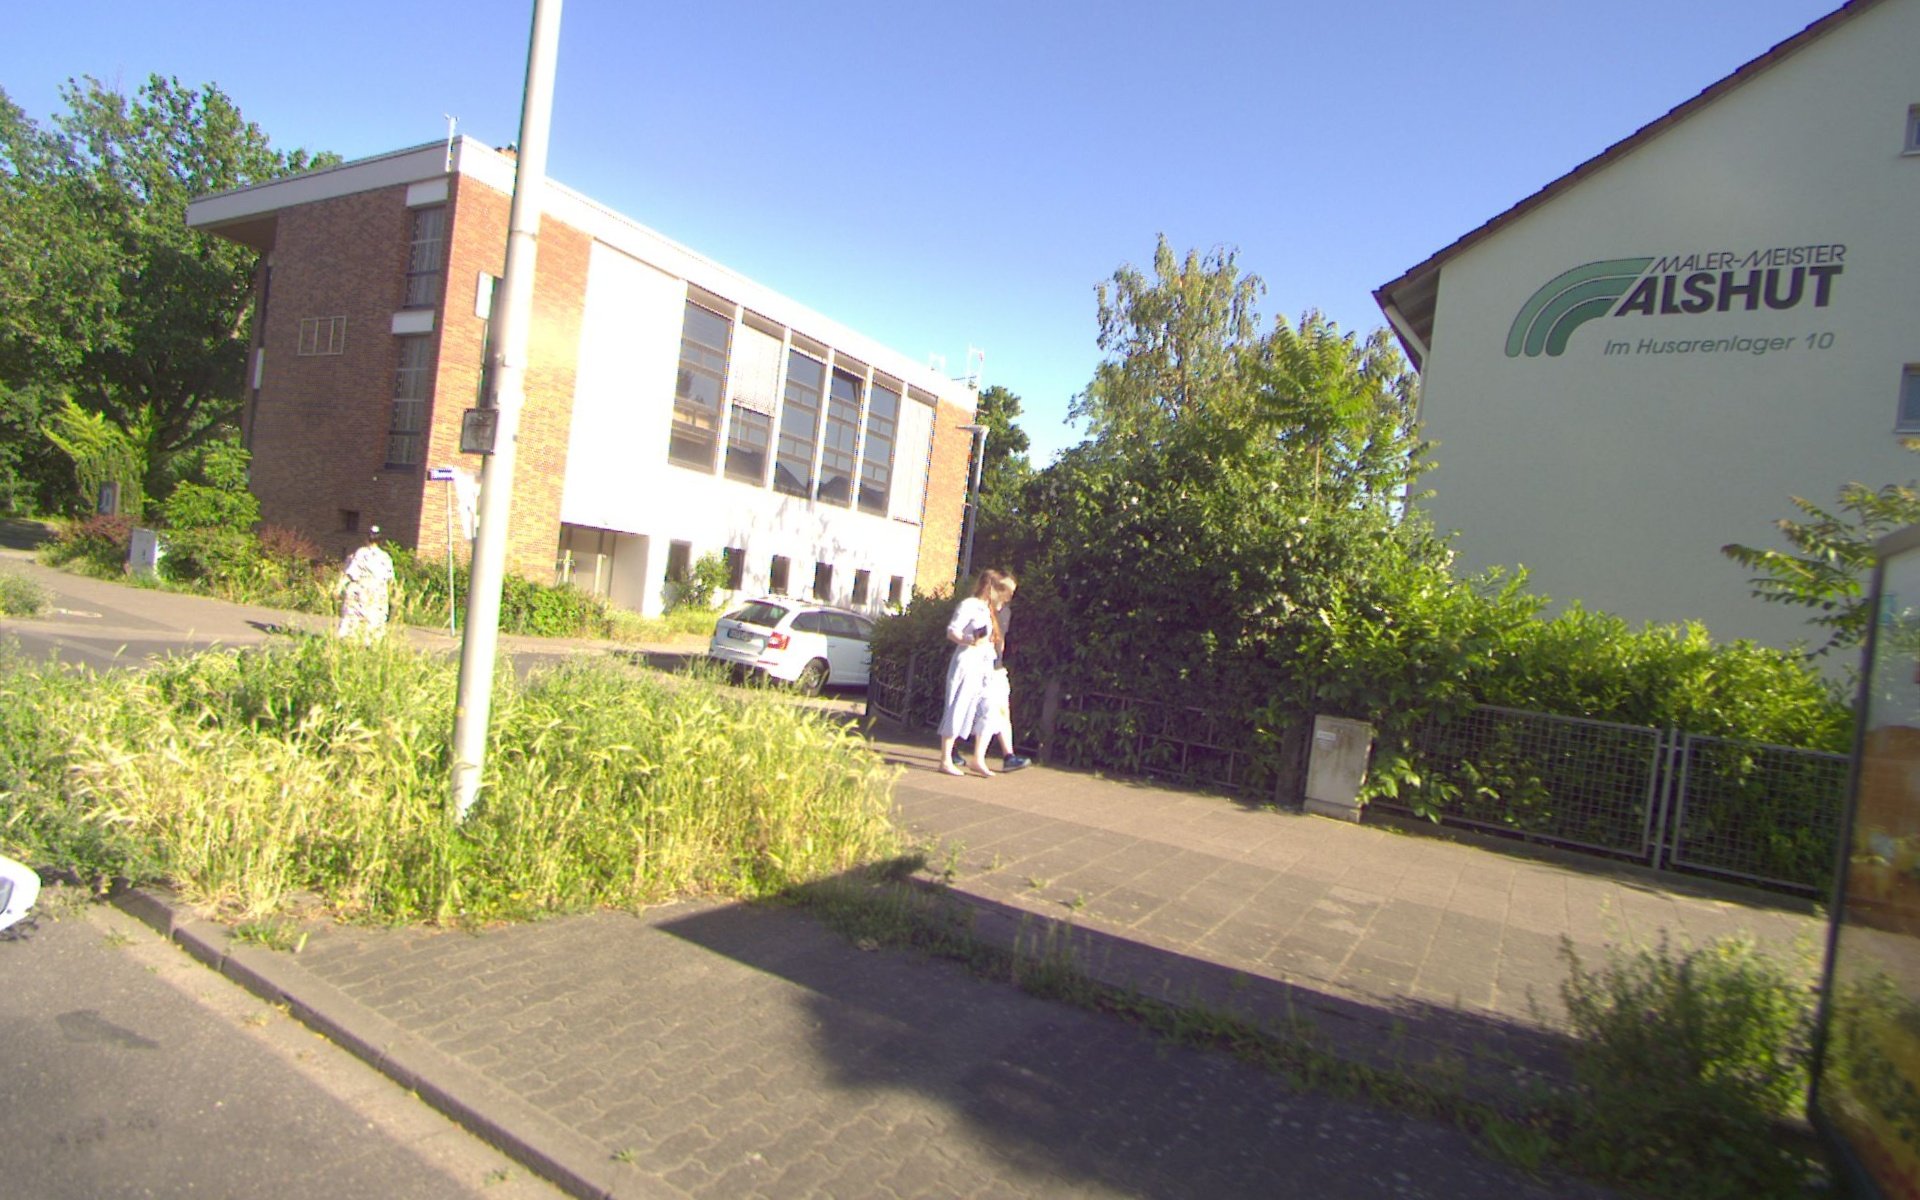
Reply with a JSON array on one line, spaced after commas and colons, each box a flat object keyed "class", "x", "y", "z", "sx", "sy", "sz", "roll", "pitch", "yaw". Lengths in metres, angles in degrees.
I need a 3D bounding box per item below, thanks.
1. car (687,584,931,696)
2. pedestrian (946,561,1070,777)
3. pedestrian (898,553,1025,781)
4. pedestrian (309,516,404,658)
[{"class": "car", "x": -2.464, "y": 0.775, "z": 17.509, "sx": 1.776, "sy": 1.520, "sz": 4.200, "roll": 8, "pitch": 0, "yaw": 31}, {"class": "pedestrian", "x": 0.413, "y": 0.590, "z": 8.649, "sx": 0.604, "sy": 1.753, "sz": 0.632, "roll": 8, "pitch": -1, "yaw": -42}, {"class": "pedestrian", "x": 0.009, "y": 0.539, "z": 8.194, "sx": 0.552, "sy": 1.753, "sz": 0.653, "roll": 8, "pitch": -1, "yaw": -42}, {"class": "pedestrian", "x": -8.436, "y": -0.175, "z": 14.102, "sx": 0.892, "sy": 1.843, "sz": 0.731, "roll": 7, "pitch": -1, "yaw": -27}]
